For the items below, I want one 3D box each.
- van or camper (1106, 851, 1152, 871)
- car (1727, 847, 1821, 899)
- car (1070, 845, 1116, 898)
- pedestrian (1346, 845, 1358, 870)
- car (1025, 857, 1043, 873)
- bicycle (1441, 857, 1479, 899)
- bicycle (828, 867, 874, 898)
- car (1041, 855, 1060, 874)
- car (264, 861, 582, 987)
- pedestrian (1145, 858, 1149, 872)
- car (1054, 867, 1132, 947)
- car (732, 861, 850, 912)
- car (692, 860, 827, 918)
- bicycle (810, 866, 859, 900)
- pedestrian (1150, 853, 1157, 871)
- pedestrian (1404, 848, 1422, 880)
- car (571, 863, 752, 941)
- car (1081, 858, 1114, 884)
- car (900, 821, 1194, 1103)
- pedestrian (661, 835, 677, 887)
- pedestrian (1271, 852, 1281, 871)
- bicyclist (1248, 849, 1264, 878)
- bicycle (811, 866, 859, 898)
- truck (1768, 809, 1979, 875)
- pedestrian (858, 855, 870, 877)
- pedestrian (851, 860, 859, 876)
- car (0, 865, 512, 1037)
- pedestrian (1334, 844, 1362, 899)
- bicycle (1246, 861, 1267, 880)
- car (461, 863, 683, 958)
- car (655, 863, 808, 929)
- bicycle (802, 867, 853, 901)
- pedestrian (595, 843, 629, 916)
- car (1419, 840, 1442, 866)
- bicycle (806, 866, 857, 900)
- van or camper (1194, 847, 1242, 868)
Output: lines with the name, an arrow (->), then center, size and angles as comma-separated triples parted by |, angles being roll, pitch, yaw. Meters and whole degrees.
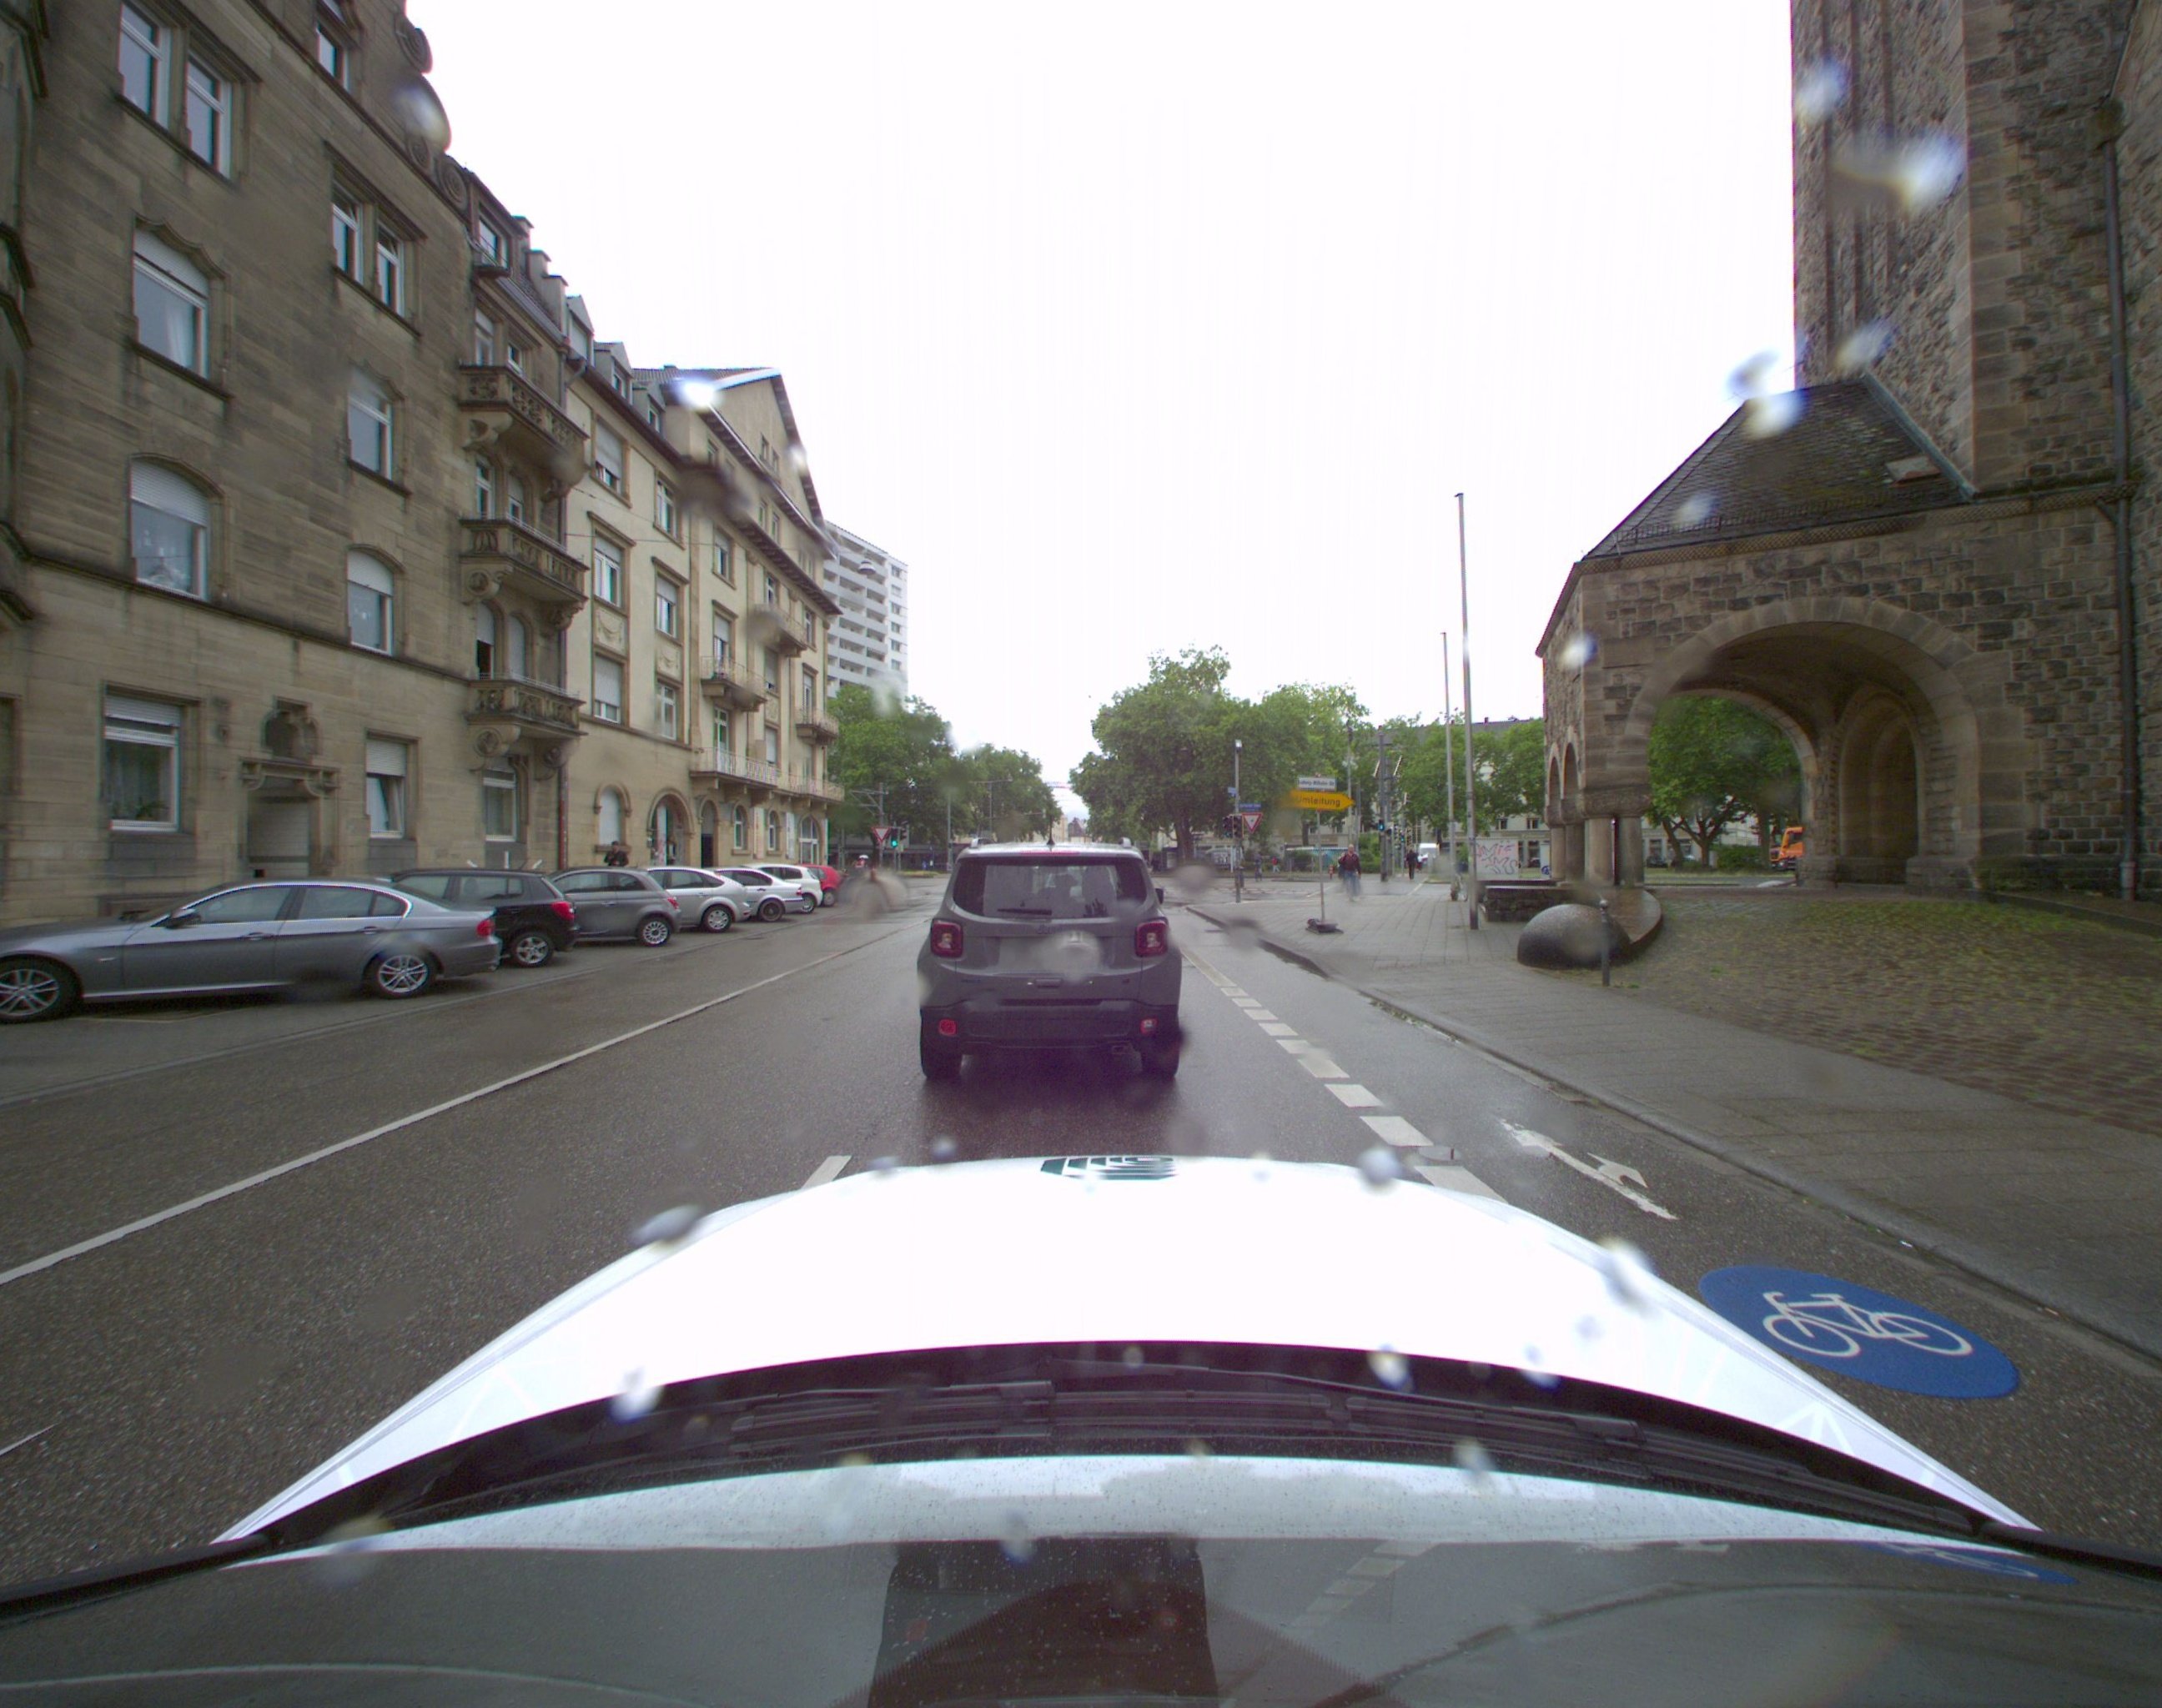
van or camper -> 7.353, 1.010, 124.058 | 6.465, 2.912, 2.509 | -1, -1, 28
car -> 21.286, 0.557, 25.139 | 1.389, 1.479, 3.239 | -1, 0, 25
car -> 0.511, 0.685, 33.620 | 1.764, 2.014, 4.001 | -1, 0, 1
pedestrian -> 21.904, 0.274, 65.751 | 0.798, 2.014, 0.593 | -1, -1, 28
car -> -4.946, 1.168, 86.470 | 1.810, 1.670, 3.916 | -1, 0, -3
bicycle -> 10.946, 0.677, 23.580 | 0.327, 1.154, 2.079 | -1, 0, 7
bicycle -> -9.685, 1.188, 34.359 | 1.758, 1.266, 0.608 | -1, -1, -1
car -> -2.867, 0.952, 75.681 | 1.717, 1.739, 3.726 | -1, 0, -2
car -> -9.789, 0.937, 12.404 | 3.571, 1.598, 1.587 | -1, -1, -38
pedestrian -> 8.306, 1.386, 102.490 | 0.456, 1.704, 0.424 | -1, -1, 2
car -> 0.245, 0.961, 16.073 | 1.358, 1.376, 3.313 | -1, 0, 1
car -> -9.755, 1.038, 27.480 | 3.419, 1.558, 1.686 | -1, -1, -38
car -> -9.600, 0.995, 24.396 | 3.419, 1.558, 1.686 | -1, -1, -38
bicycle -> -9.820, 1.152, 32.454 | 1.805, 1.266, 0.498 | -1, -1, -1
pedestrian -> 8.169, 0.883, 91.532 | 0.646, 2.014, 0.484 | -1, -1, 13
pedestrian -> 17.725, 0.530, 43.467 | 0.775, 1.645, 0.659 | -2, -1, 25
car -> -9.473, 1.010, 18.469 | 3.419, 1.558, 1.686 | -1, -1, -38
car -> 0.900, 0.854, 42.491 | 1.586, 1.252, 3.577 | -1, 0, 2
car -> -0.188, 0.672, 6.954 | 1.769, 1.687, 3.848 | -2, 0, 0
pedestrian -> -14.559, 0.239, 28.755 | 0.365, 1.823, 0.347 | -2, -1, -1
pedestrian -> 16.349, 0.654, 68.342 | 0.667, 1.554, 0.766 | -1, -2, 29
bicyclist -> 9.878, 0.519, 45.900 | 0.681, 1.617, 0.888 | -2, -1, 21
bicycle -> -10.092, 1.146, 33.487 | 1.758, 1.266, 0.608 | -1, -1, -1
truck -> 45.181, -0.605, 46.801 | 8.334, 3.524, 2.390 | -1, -1, 25
pedestrian -> -18.042, 1.007, 67.752 | 0.614, 1.826, 0.697 | -2, -1, 15
pedestrian -> -21.833, 1.378, 78.629 | 0.438, 1.530, 0.647 | -1, -1, 27
car -> -9.474, 0.944, 9.428 | 4.573, 1.545, 1.668 | -1, -1, -42
pedestrian -> 8.714, 0.566, 26.579 | 0.780, 1.759, 0.949 | -2, -1, 16
bicycle -> 9.934, 0.920, 46.016 | 0.686, 1.021, 2.672 | -2, 0, 21
car -> -9.606, 0.980, 15.448 | 3.419, 1.558, 1.634 | -1, -1, -38
car -> -9.287, 1.047, 21.719 | 3.419, 1.558, 1.686 | -1, -1, -38
bicycle -> -9.704, 1.143, 31.221 | 1.758, 1.266, 0.522 | -1, -1, -1
pedestrian -> -13.205, 0.708, 22.936 | 0.565, 2.014, 0.655 | -1, -1, 1
car -> 35.290, -0.068, 82.184 | 1.889, 2.555, 4.814 | -1, -1, 25
bicycle -> -9.708, 1.138, 31.768 | 1.805, 1.266, 0.498 | -1, -1, -1
van or camper -> 15.723, 0.370, 93.535 | 5.234, 2.315, 2.093 | 0, 0, 5
